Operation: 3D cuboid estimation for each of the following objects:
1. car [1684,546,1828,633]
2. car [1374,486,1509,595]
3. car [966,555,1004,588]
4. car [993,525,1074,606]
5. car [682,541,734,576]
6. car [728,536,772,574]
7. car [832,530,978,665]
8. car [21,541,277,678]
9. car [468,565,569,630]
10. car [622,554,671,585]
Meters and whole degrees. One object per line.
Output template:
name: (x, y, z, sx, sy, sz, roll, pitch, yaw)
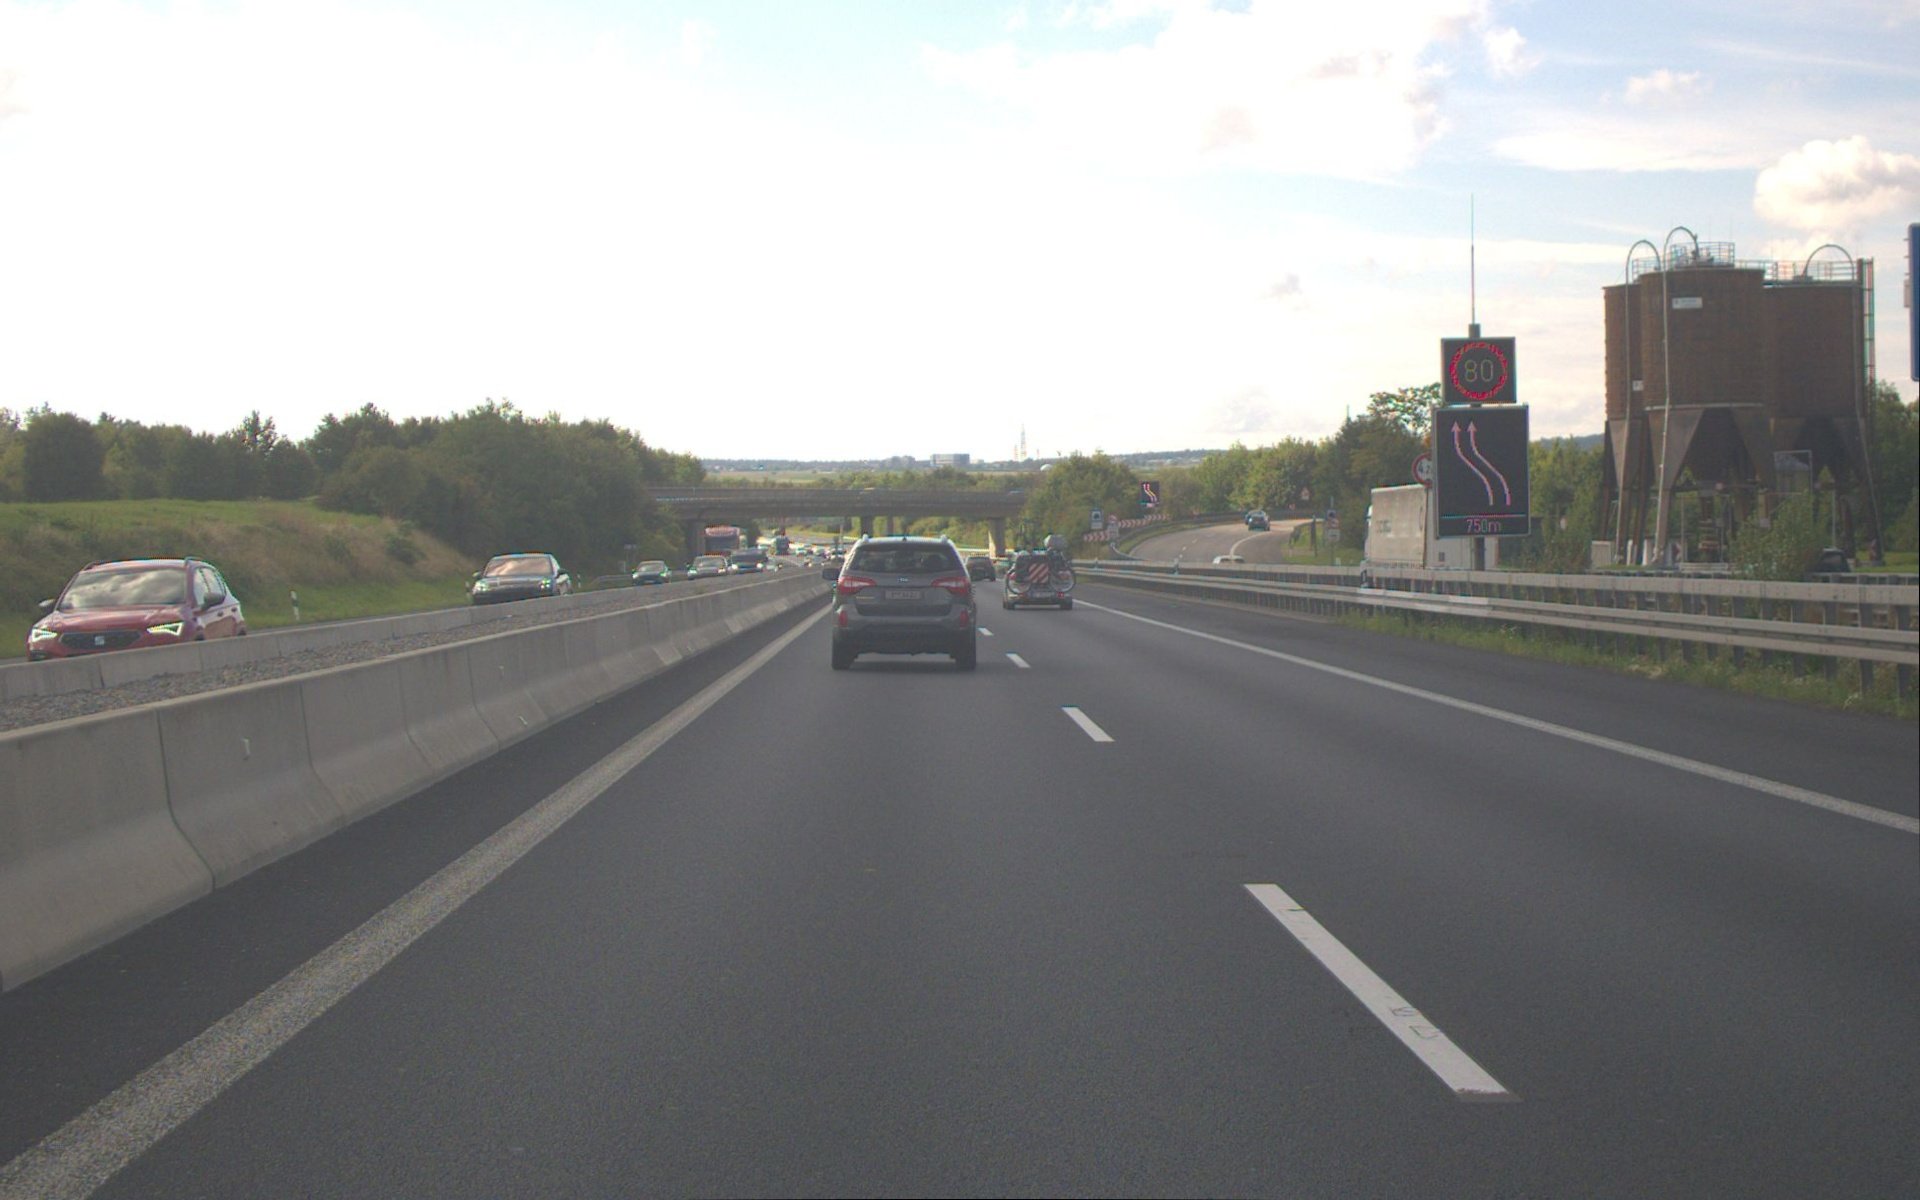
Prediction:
car: (16.702, -0.243, 72.306, 1.993, 1.711, 4.000, -2, 1, -1)
car: (17.177, -2.121, 123.222, 3.576, 3.664, 7.549, -2, 1, -1)
car: (1.370, -1.592, 190.345, 1.975, 1.773, 4.120, -2, 1, -1)
car: (1.951, -0.936, 92.398, 1.993, 2.073, 4.000, -2, 1, -1)
car: (-11.852, -1.955, 162.141, 1.993, 1.567, 5.365, -2, 1, 0)
car: (-11.482, -2.474, 188.244, 1.993, 2.007, 5.841, -2, 1, 0)
car: (-0.674, -0.059, 44.739, 1.750, 1.624, 3.609, -2, 1, 1)
car: (-9.084, 0.070, 38.907, 1.787, 1.393, 4.800, -2, 1, -1)
car: (-10.268, -0.080, 80.180, 1.787, 1.393, 4.623, -2, 1, -1)
car: (-15.746, -1.561, 172.839, 1.993, 1.473, 4.692, -2, 1, 0)
